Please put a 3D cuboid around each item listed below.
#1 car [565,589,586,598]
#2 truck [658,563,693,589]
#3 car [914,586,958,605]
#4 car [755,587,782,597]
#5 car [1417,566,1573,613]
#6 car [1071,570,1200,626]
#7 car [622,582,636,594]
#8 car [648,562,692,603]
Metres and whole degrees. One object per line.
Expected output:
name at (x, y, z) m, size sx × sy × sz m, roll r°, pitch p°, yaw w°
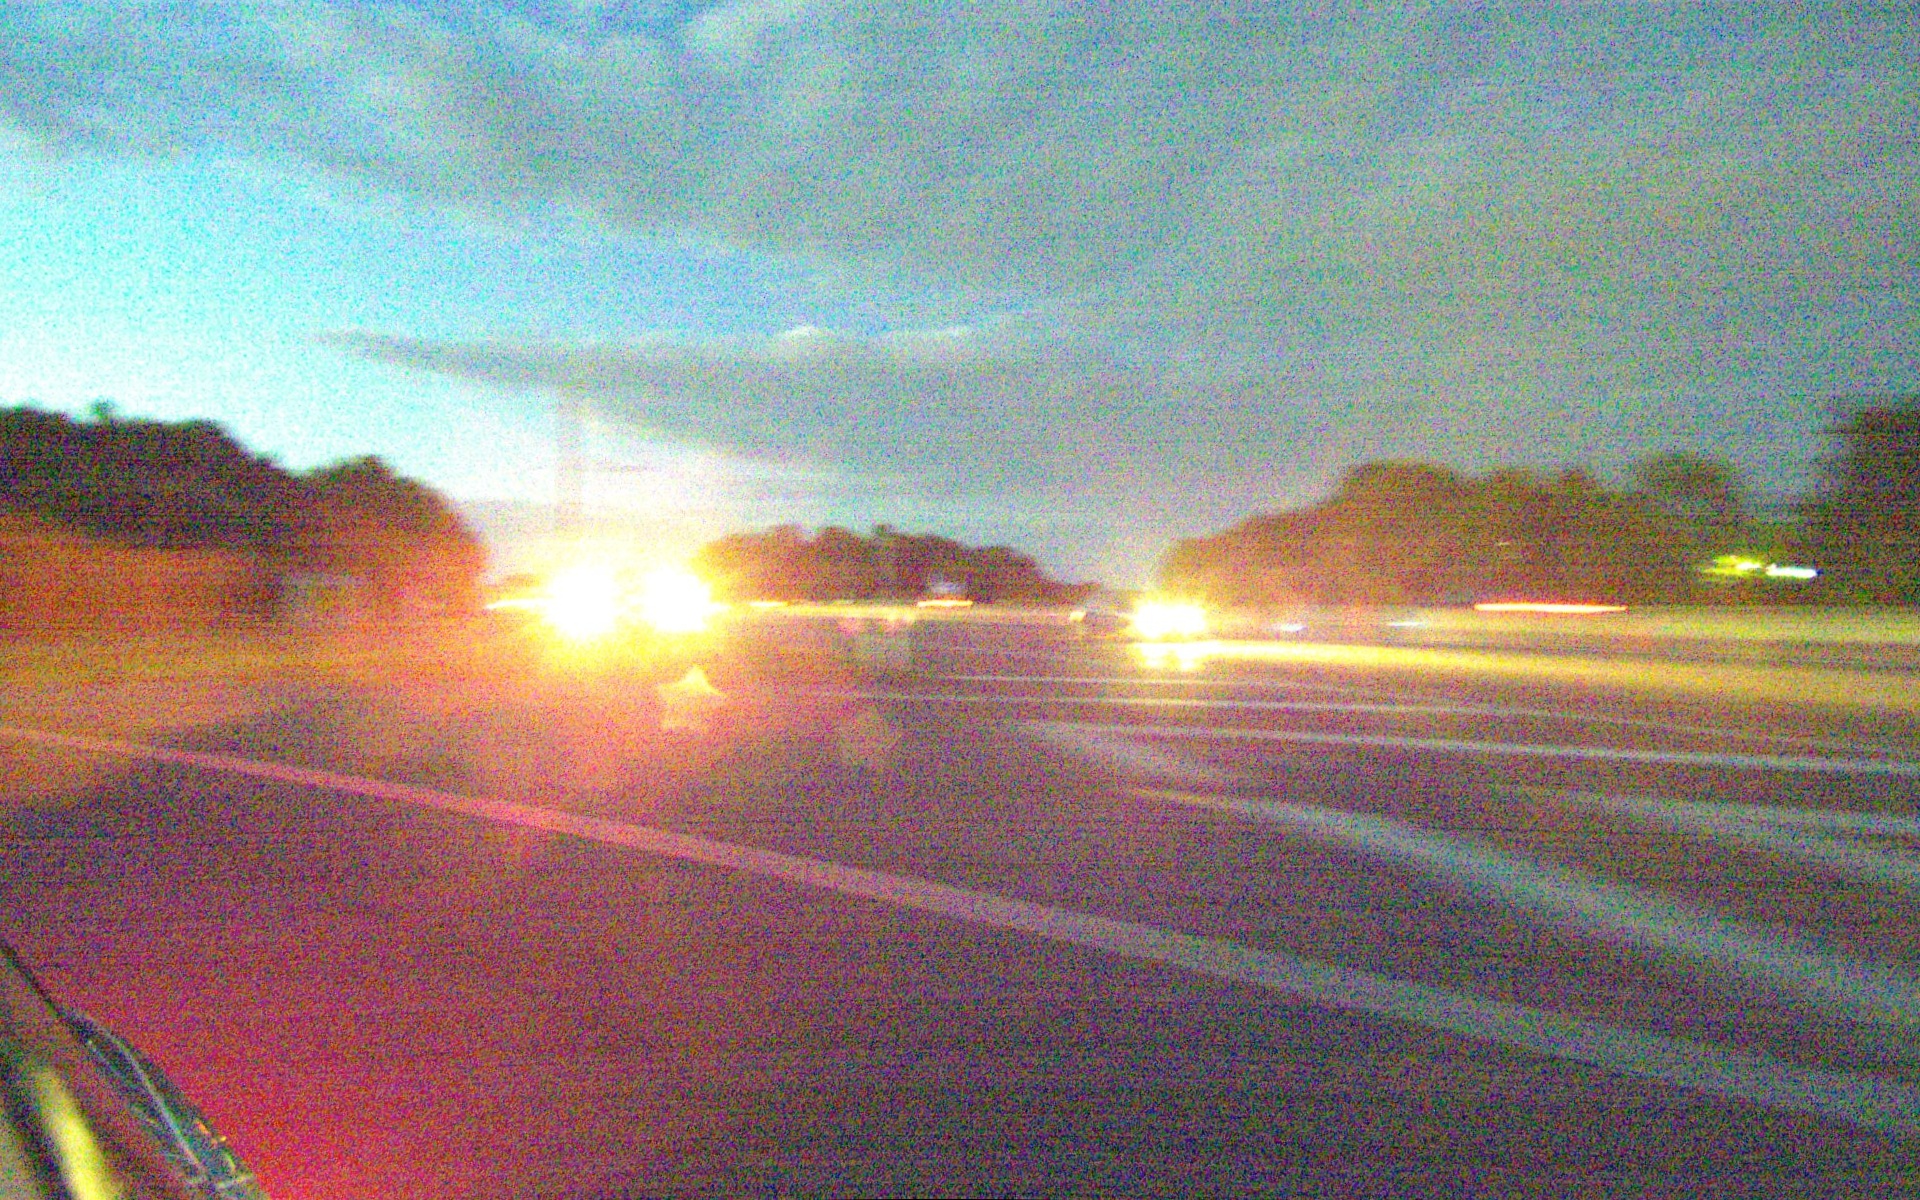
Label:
car at (-47.658, -0.787, 125.399) m, size 1.652 × 1.143 × 4.012 m, roll -1°, pitch 1°, yaw -31°
truck at (-50.846, -4.219, 180.434) m, size 3.169 × 4.484 × 12.802 m, roll -1°, pitch 1°, yaw -28°
car at (-1.676, -0.314, 68.738) m, size 1.601 × 1.287 × 3.728 m, roll -1°, pitch 1°, yaw -25°
car at (-20.113, -0.855, 106.223) m, size 1.537 × 1.067 × 4.012 m, roll -1°, pitch 1°, yaw -31°
car at (15.873, -0.309, 30.248) m, size 1.601 × 1.287 × 4.013 m, roll -1°, pitch 1°, yaw -22°
car at (4.629, -0.073, 27.163) m, size 1.702 × 1.379 × 3.643 m, roll -1°, pitch 1°, yaw -23°
car at (-64.831, -2.351, 198.113) m, size 1.965 × 2.217 × 4.013 m, roll -1°, pitch 1°, yaw -27°
car at (-25.522, -1.545, 88.755) m, size 2.509 × 3.448 × 7.808 m, roll -1°, pitch 1°, yaw -25°
